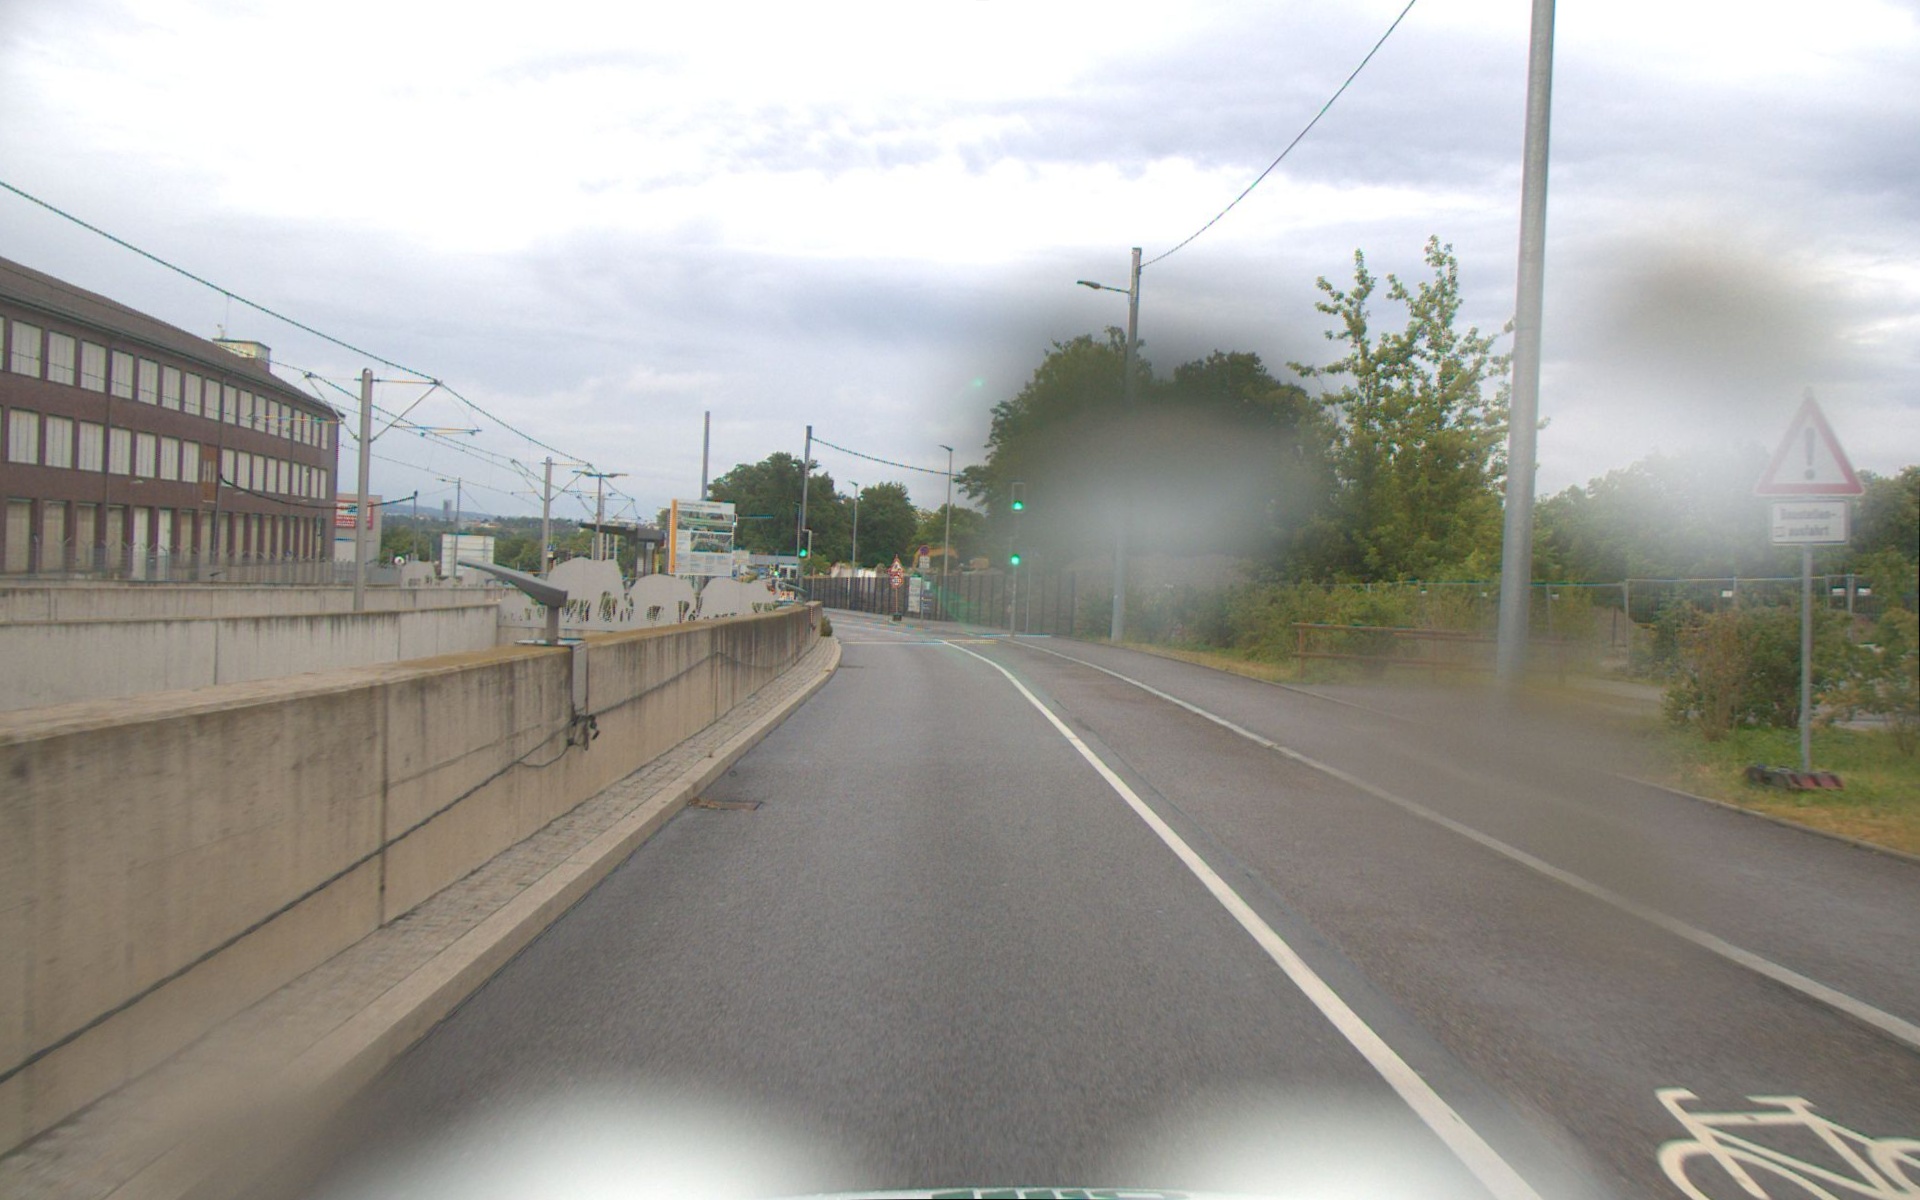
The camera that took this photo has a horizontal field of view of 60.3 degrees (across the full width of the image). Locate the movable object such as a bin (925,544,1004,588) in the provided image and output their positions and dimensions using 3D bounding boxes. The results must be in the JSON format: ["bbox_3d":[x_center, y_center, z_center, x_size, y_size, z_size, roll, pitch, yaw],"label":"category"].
[{"bbox_3d":[0.681,-4.902,237.675,11.014,6.100,3.487,1,0,-6],"label":"movable object such as a bin"}]
